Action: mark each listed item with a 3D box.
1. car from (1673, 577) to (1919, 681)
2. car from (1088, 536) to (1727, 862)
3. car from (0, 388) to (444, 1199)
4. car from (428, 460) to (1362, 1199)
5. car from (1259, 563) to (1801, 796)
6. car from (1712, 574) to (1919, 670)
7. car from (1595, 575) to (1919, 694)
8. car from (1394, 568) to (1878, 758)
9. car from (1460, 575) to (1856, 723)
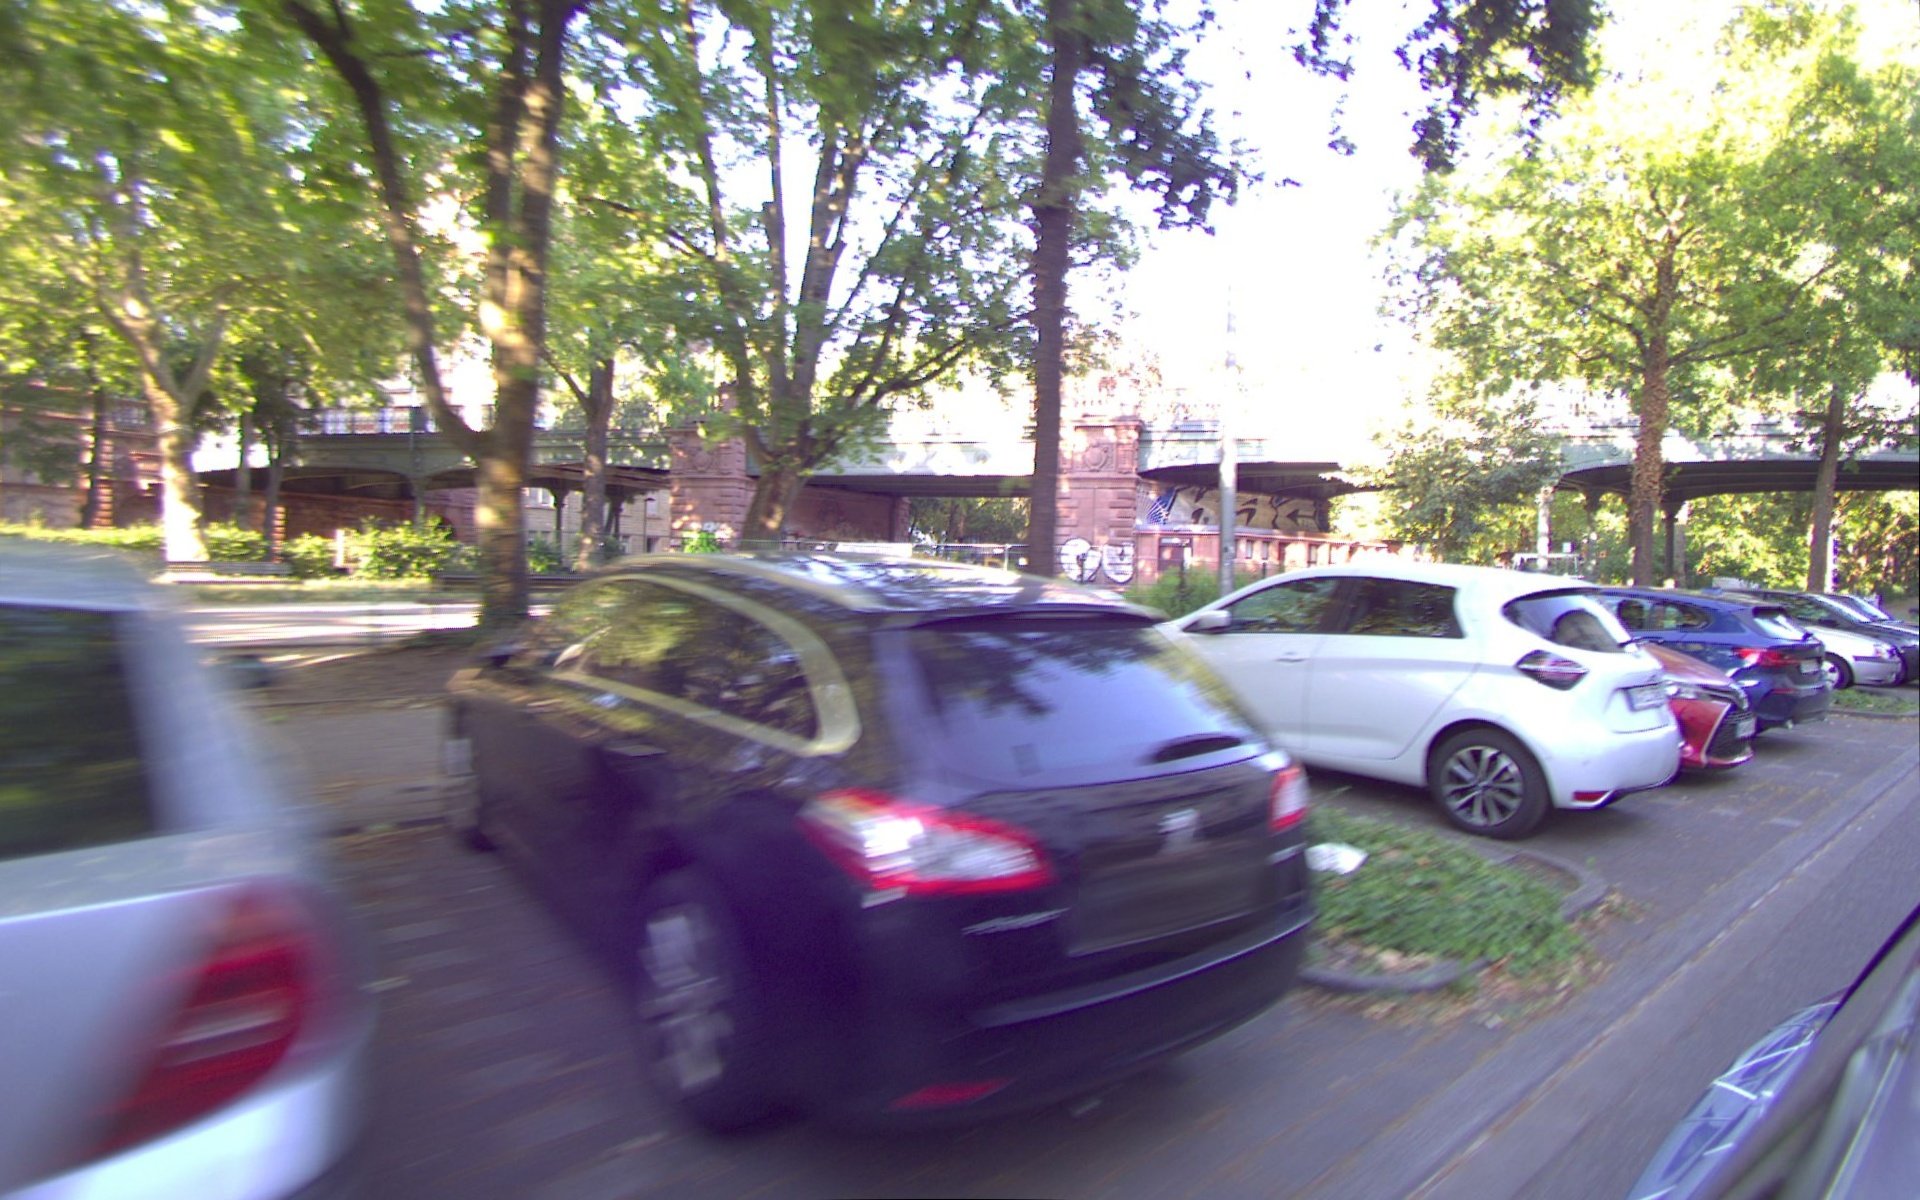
[{"bbox_3d":[14.302,0.407,16.687,1.794,1.418,3.793,-2,4,-38],"label":"car"},{"bbox_3d":[2.861,0.394,7.179,1.635,1.666,3.792,-2,4,-39],"label":"car"},{"bbox_3d":[-2.567,0.500,2.415,1.634,1.596,4.413,-2,4,-37],"label":"car"},{"bbox_3d":[-0.886,0.423,3.999,1.633,1.596,4.416,-1,4,-35],"label":"car"},{"bbox_3d":[4.730,0.470,8.899,1.634,1.491,3.794,-2,4,-37],"label":"car"},{"bbox_3d":[16.022,0.356,18.178,1.608,1.490,3.787,-2,4,-43],"label":"car"},{"bbox_3d":[12.064,0.403,15.330,1.635,1.418,3.791,-2,4,-40],"label":"car"},{"bbox_3d":[6.708,0.459,10.455,1.633,1.464,3.797,-1,4,-34],"label":"car"},{"bbox_3d":[8.598,0.474,12.693,1.737,1.418,3.787,-2,4,-43],"label":"car"}]
